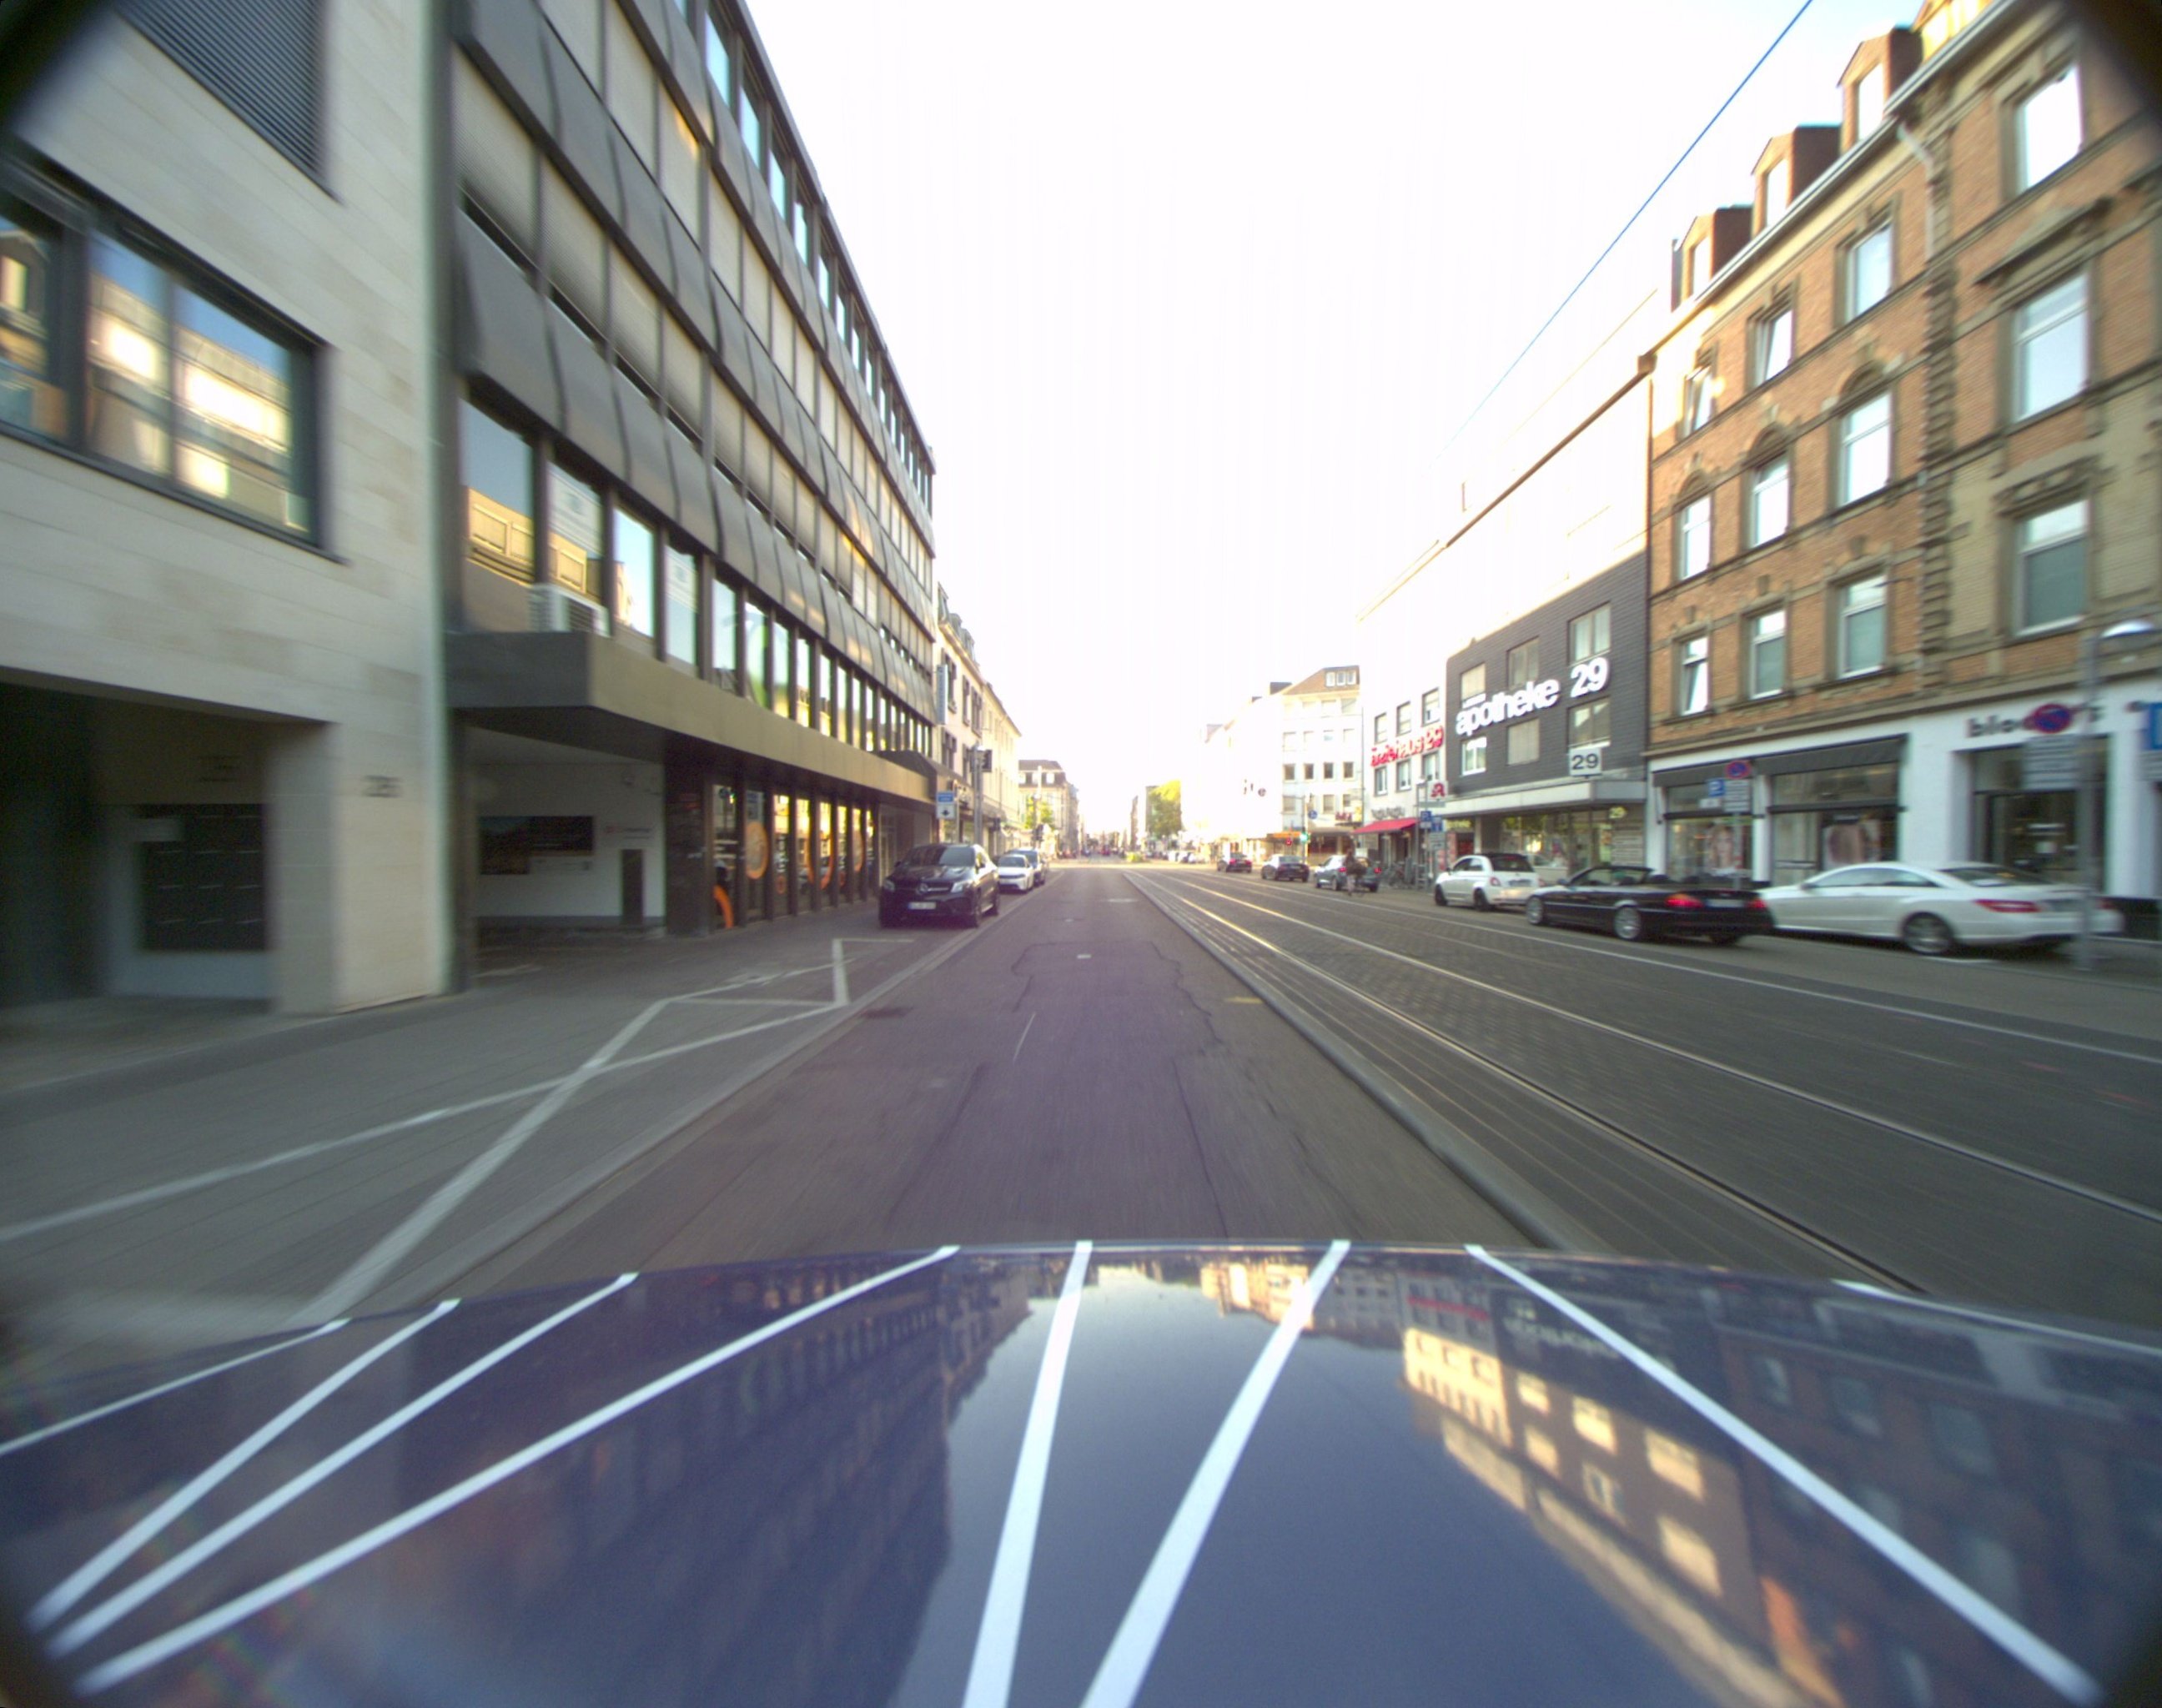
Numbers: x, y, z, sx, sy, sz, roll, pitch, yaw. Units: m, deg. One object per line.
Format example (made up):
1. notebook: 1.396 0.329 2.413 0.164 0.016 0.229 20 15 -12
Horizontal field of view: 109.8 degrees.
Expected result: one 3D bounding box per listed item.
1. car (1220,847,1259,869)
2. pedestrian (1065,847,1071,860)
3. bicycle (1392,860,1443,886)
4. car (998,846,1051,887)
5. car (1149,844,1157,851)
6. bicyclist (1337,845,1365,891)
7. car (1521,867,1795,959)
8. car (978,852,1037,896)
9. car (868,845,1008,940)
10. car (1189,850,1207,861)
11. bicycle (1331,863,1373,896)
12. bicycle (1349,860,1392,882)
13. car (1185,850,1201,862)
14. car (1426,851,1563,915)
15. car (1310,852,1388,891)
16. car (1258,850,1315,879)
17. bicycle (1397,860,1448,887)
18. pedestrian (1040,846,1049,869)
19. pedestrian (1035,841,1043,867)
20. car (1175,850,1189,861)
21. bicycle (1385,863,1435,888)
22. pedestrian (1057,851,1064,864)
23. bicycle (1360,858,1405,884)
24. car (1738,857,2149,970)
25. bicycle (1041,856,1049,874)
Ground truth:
1. car: 11.169 0.250 53.922 1.919 1.378 4.563 2 1 2
2. pedestrian: -1.658 -0.058 96.922 0.806 1.603 0.993 -1 2 1
3. bicycle: 14.079 0.789 31.821 1.860 0.978 0.462 -3 1 1
4. car: -2.516 0.507 34.859 1.919 1.707 4.563 2 1 2
5. car: 16.952 -1.581 179.207 1.847 1.626 4.001 0 1 4
6. bicyclist: 9.274 0.474 26.118 0.695 1.556 0.799 0 1 0
7. car: 9.949 0.929 13.612 1.671 1.221 4.273 2 1 1
8. car: -2.734 0.706 28.982 1.770 1.477 3.872 2 1 1
9. car: -2.944 0.710 16.747 1.989 1.724 4.671 2 1 2
10. car: 14.736 0.179 95.710 1.847 1.287 4.001 0 1 4
11. bicycle: 9.281 0.842 26.068 0.695 1.028 2.081 0 1 0
12. bicycle: 14.279 0.854 37.542 1.860 0.978 0.607 -3 1 1
13. car: 14.795 0.251 100.329 1.847 1.626 4.001 0 1 4
14. car: 10.915 0.698 20.375 1.671 1.497 3.680 2 1 1
15. car: 10.745 0.670 30.756 1.762 1.378 4.061 2 1 2
16. car: 11.032 0.533 41.052 1.919 1.378 4.563 2 1 2
17. bicycle: 14.070 0.798 31.305 1.860 0.978 0.462 -3 1 1
18. pedestrian: -2.702 0.247 56.440 0.639 1.735 0.699 0 1 4
19. pedestrian: -3.013 -0.001 54.580 0.576 1.917 0.496 0 1 -9
20. car: 15.146 0.178 114.441 1.847 1.626 4.001 0 1 4
21. bicycle: 14.108 0.923 32.578 1.860 0.978 0.492 -3 1 1
22. pedestrian: -2.588 0.388 96.914 0.806 1.603 0.993 -1 2 1
23. bicycle: 14.322 0.797 36.118 1.860 1.128 0.607 -3 1 1
24. car: 13.414 0.806 12.319 1.763 1.381 4.273 -3 1 -1
25. bicycle: -2.315 0.676 48.628 0.479 1.083 1.647 1 1 -2
